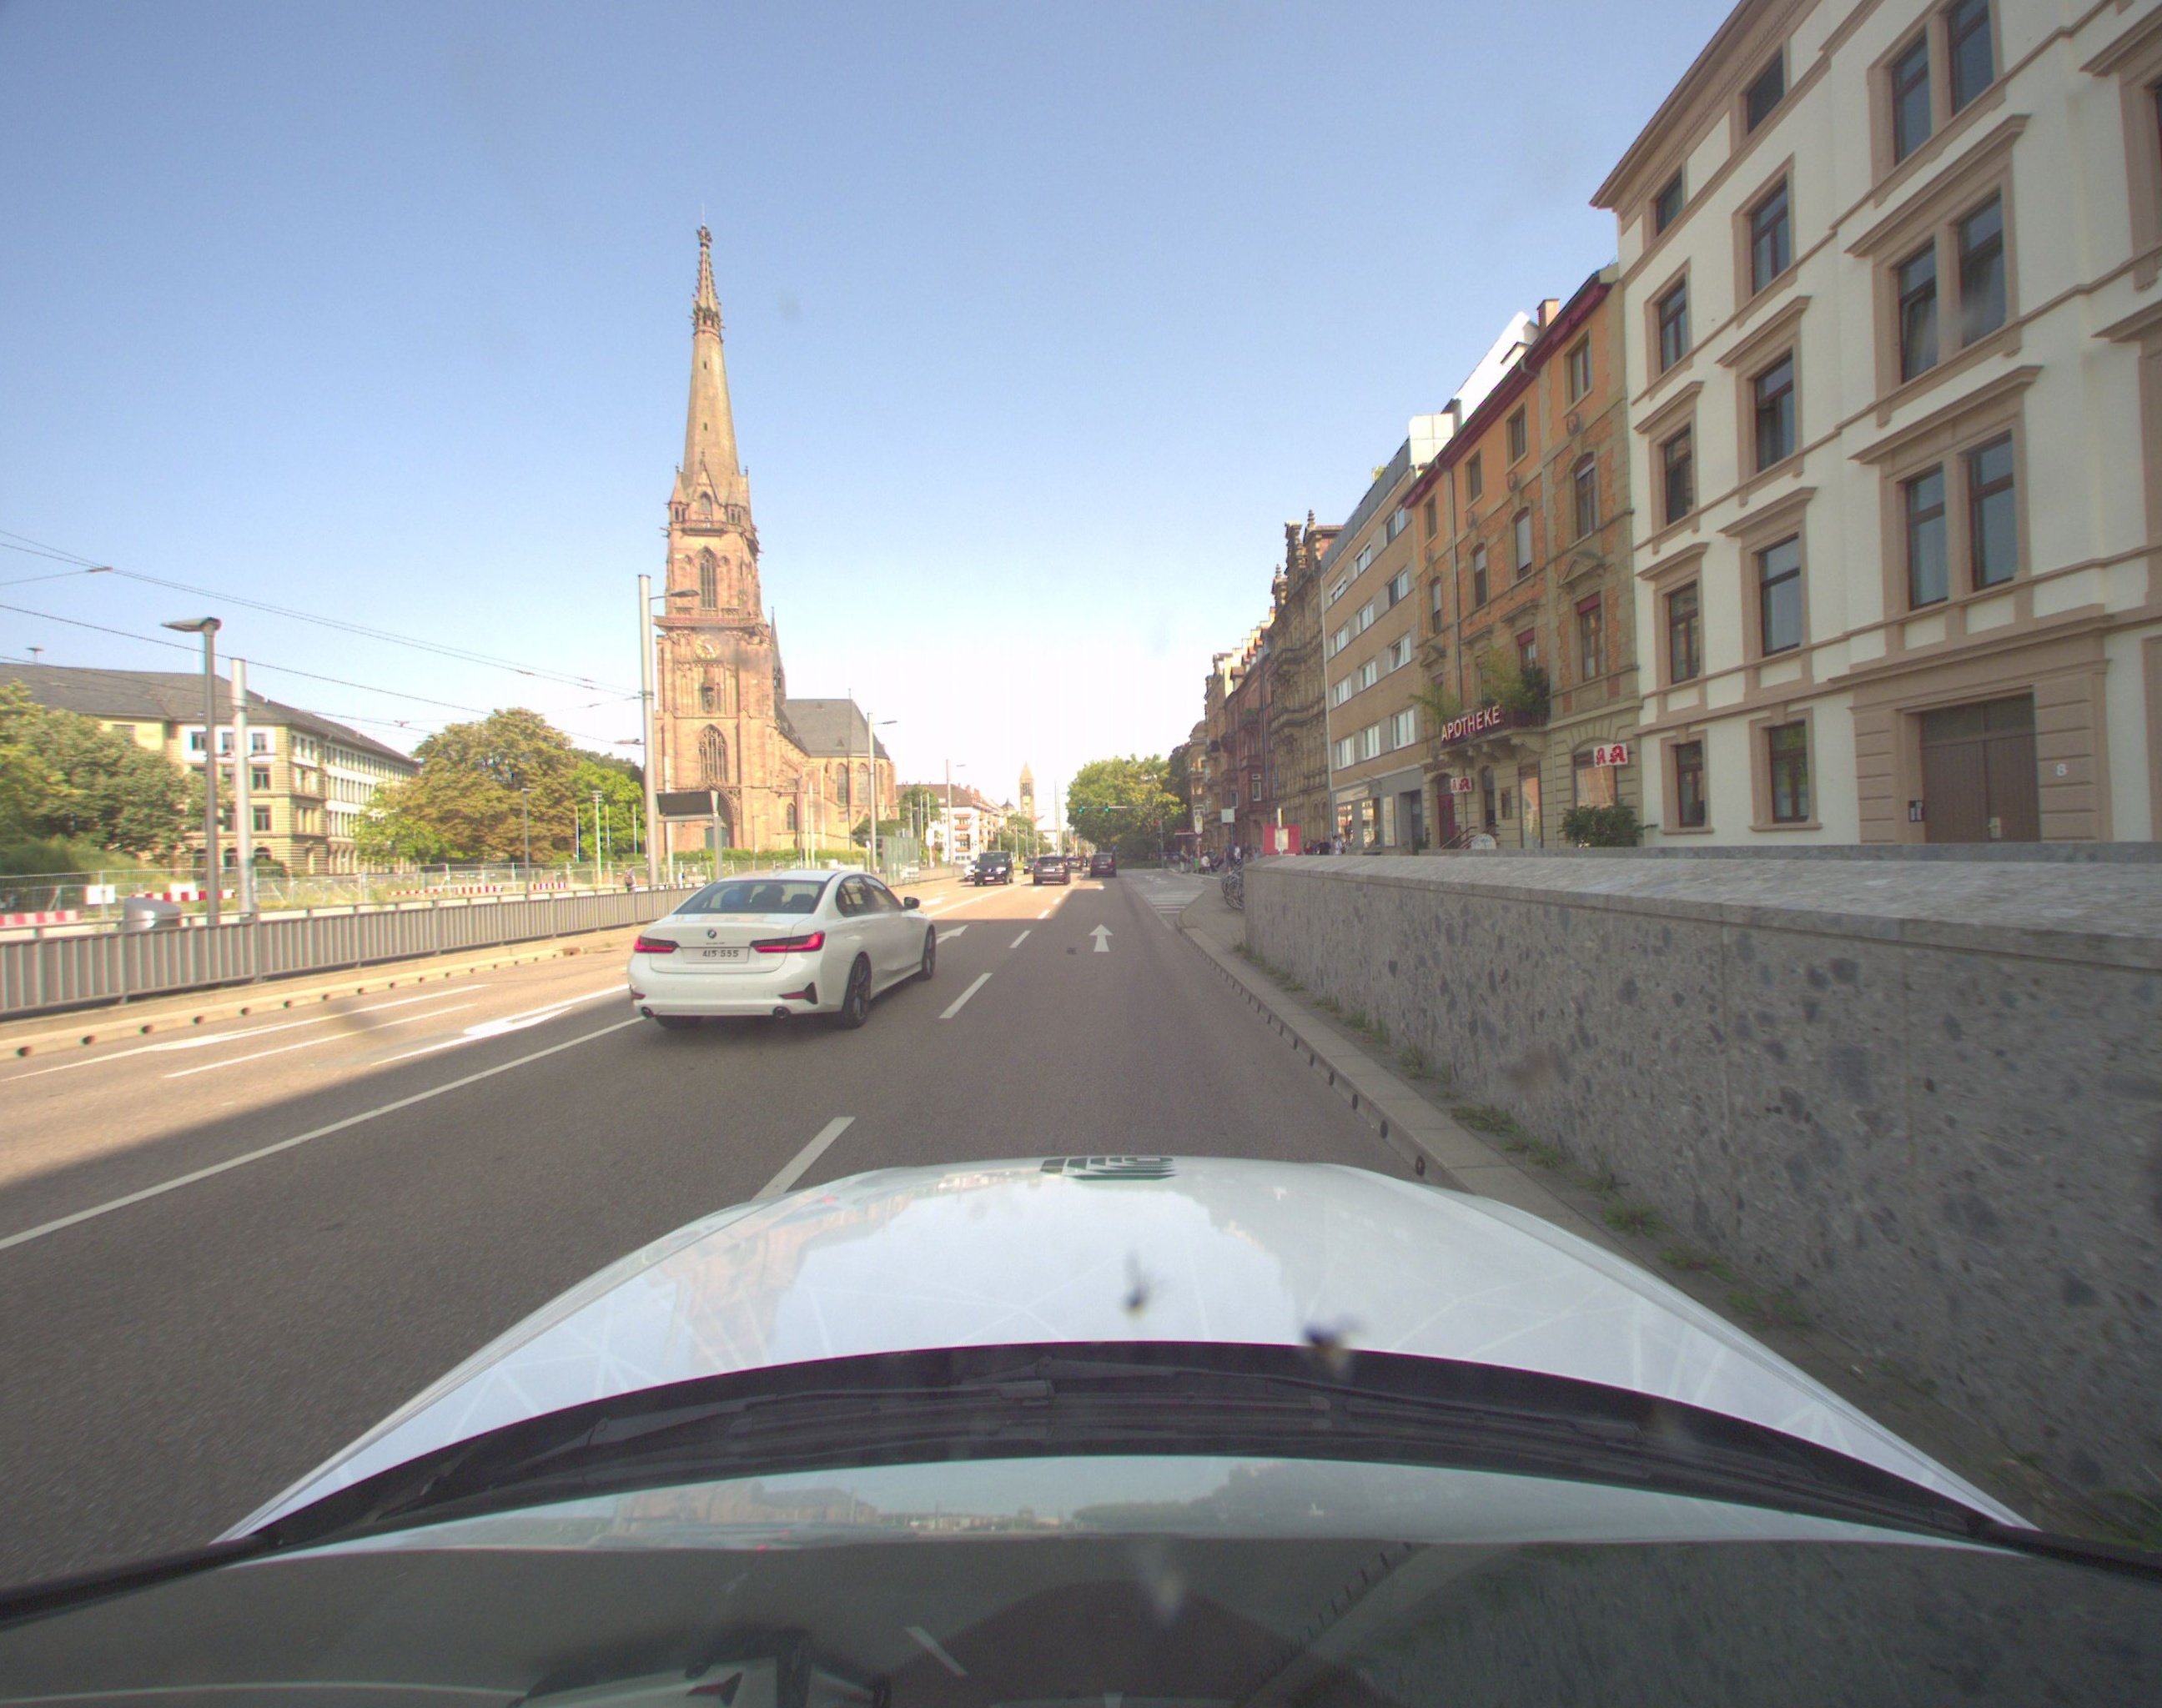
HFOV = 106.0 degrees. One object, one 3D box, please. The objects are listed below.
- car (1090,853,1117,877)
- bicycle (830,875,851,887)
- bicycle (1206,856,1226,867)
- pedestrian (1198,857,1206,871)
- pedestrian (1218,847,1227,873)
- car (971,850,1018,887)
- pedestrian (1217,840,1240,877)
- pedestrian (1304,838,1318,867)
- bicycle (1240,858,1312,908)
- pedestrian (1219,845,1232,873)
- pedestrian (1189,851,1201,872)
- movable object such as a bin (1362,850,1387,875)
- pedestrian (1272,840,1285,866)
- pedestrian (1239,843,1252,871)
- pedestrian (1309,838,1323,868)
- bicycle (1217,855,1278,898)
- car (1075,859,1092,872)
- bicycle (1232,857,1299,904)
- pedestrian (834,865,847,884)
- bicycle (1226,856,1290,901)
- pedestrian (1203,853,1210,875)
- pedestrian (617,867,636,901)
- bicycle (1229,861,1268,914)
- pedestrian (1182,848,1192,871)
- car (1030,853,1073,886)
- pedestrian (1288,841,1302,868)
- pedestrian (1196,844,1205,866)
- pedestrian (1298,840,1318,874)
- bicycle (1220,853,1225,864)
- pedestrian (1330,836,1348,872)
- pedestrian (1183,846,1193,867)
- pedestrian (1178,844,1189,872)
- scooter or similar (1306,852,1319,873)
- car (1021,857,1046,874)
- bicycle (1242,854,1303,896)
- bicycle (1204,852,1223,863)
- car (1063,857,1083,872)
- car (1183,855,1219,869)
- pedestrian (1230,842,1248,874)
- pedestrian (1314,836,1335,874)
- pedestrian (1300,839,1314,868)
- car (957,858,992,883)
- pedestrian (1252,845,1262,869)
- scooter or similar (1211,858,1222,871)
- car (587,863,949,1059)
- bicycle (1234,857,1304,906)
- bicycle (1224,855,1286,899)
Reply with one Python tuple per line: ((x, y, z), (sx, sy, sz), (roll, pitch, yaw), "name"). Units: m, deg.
((1.604, 0.760, 57.812), (1.825, 1.621, 4.359), (-1, 0, 2), "car")
((-21.511, 2.432, 72.911), (1.746, 0.978, 0.481), (-2, 0, 14), "bicycle")
((14.240, 0.769, 85.825), (1.924, 1.048, 0.499), (-2, 0, -5), "bicycle")
((7.254, 0.612, 48.913), (0.302, 0.820, 0.603), (-2, 0, -6), "pedestrian")
((9.353, 0.382, 53.751), (0.340, 1.732, 0.805), (-2, 0, -2), "pedestrian")
((-4.899, 0.784, 46.955), (1.986, 1.904, 4.717), (-4, 0, 1), "car")
((7.431, 0.226, 41.069), (0.923, 1.831, 0.800), (-2, 0, -2), "pedestrian")
((13.796, -0.106, 48.890), (0.602, 1.692, 0.587), (-2, 0, -2), "pedestrian")
((4.770, 0.701, 19.949), (1.629, 1.148, 0.385), (-2, 0, -4), "bicycle")
((8.975, 0.302, 50.574), (0.563, 1.729, 0.617), (-2, 0, -2), "pedestrian")
((7.092, 0.470, 50.687), (0.563, 1.277, 0.596), (-2, 0, -3), "pedestrian")
((12.959, 0.361, 35.960), (0.738, 1.080, 0.666), (-2, 0, -16), "movable object such as a bin")
((13.355, -0.058, 55.006), (0.627, 1.719, 0.691), (-2, 0, 1), "pedestrian")
((10.872, 0.200, 53.899), (0.614, 1.804, 1.072), (-2, 0, 3), "pedestrian")
((13.807, -0.055, 47.805), (0.602, 1.731, 0.510), (-2, 0, -2), "pedestrian")
((4.791, 0.646, 23.437), (1.629, 1.148, 0.385), (-2, 0, -4), "bicycle")
((0.324, 1.409, 101.654), (1.857, 1.424, 4.359), (-1, 0, 2), "car")
((4.822, 0.683, 21.276), (1.629, 1.148, 0.385), (-2, 0, -4), "bicycle")
((-21.543, 1.836, 72.920), (0.910, 1.679, 0.604), (-2, 0, 14), "pedestrian")
((4.805, 0.669, 22.137), (1.629, 1.148, 0.385), (-2, 0, -4), "bicycle")
((7.344, 0.558, 47.551), (0.275, 1.274, 0.447), (-2, 0, -5), "pedestrian")
((-23.073, 1.527, 41.318), (0.515, 1.700, 0.664), (-2, 0, 1), "pedestrian")
((3.850, 0.736, 18.818), (0.406, 1.148, 1.654), (-2, 0, -4), "bicycle")
((7.517, 0.410, 57.896), (0.526, 1.612, 0.702), (-2, 0, -2), "pedestrian")
((-1.526, 0.796, 43.837), (1.986, 1.621, 4.359), (-1, 0, 2), "car")
((13.568, 0.014, 51.647), (0.602, 1.654, 0.587), (-2, 0, -2), "pedestrian")
((9.479, 0.074, 64.675), (0.480, 1.702, 0.702), (-2, 0, -2), "pedestrian")
((11.088, 0.140, 39.754), (0.717, 1.610, 0.857), (-2, 0, 2), "pedestrian")
((14.458, 0.478, 83.329), (0.414, 1.048, 1.673), (-2, 0, 7), "bicycle")
((13.246, -0.014, 41.817), (0.601, 1.831, 0.742), (-2, 0, -2), "pedestrian")
((8.540, 0.169, 65.262), (0.688, 1.664, 0.620), (-2, 0, 2), "pedestrian")
((6.381, 0.228, 50.725), (0.563, 1.729, 0.745), (-2, 0, -2), "pedestrian")
((13.266, 0.491, 46.713), (0.359, 1.163, 1.152), (-2, 0, -1), "scooter or similar")
((-4.149, 1.007, 71.294), (1.707, 1.331, 4.522), (-4, 0, 1), "car")
((5.647, 0.609, 24.044), (1.626, 1.148, 0.602), (-2, 0, 3), "bicycle")
((13.809, 0.397, 84.909), (1.924, 1.048, 0.499), (-2, 0, -5), "bicycle")
((-0.772, 1.019, 81.485), (1.857, 1.424, 4.359), (-1, 0, 2), "car")
((15.326, 1.052, 104.249), (4.171, 1.563, 1.998), (-2, 0, -3), "car")
((8.674, 0.217, 44.647), (0.747, 1.729, 0.800), (-2, 0, -2), "pedestrian")
((11.857, 0.046, 39.644), (0.717, 1.787, 0.857), (-2, 0, 2), "pedestrian")
((13.774, -0.030, 49.628), (0.602, 1.692, 0.587), (-2, 0, -2), "pedestrian")
((-7.625, 1.158, 58.639), (1.707, 1.611, 4.506), (-4, 0, 1), "car")
((11.655, 0.203, 53.897), (0.484, 1.610, 0.813), (-2, 0, 3), "pedestrian")
((8.393, 0.658, 50.571), (0.563, 0.741, 0.514), (-2, 0, -2), "scooter or similar")
((-2.808, 0.845, 8.664), (1.802, 1.427, 4.778), (0, 0, 3), "car")
((4.718, 0.691, 20.439), (1.629, 1.148, 0.385), (-2, 0, -4), "bicycle")
((4.869, 0.648, 22.790), (1.629, 1.148, 0.385), (-2, 0, -4), "bicycle")
